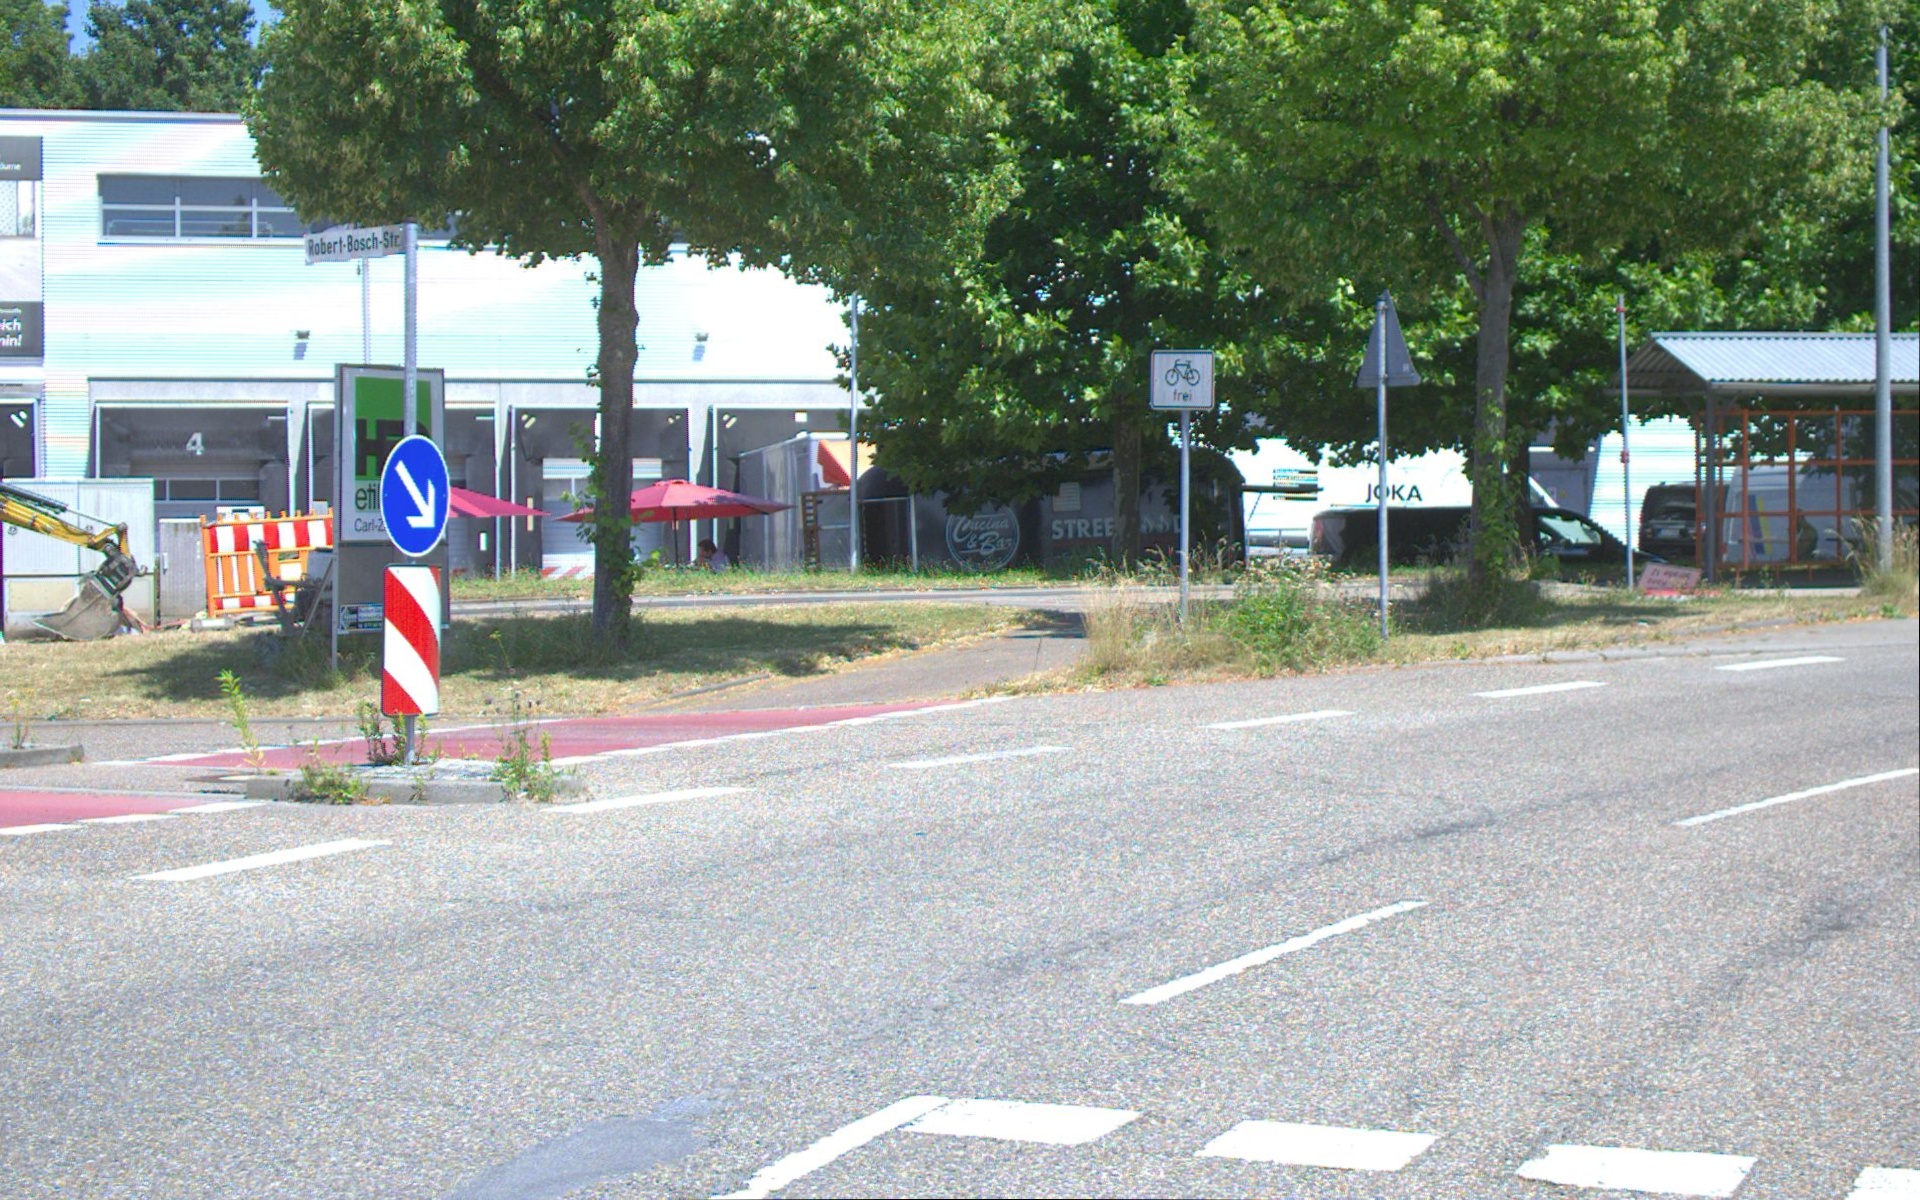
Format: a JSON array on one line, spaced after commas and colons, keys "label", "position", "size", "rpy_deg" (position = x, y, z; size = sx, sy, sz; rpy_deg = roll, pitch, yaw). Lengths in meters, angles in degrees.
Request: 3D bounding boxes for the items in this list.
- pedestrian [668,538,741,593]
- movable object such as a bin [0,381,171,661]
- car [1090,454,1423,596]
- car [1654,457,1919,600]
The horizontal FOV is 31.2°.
[{"label": "pedestrian", "position": [-3.349, -0.458, 45.075], "size": [0.864, 0.693, 0.407], "rpy_deg": [-1, 1, 9]}, {"label": "movable object such as a bin", "position": [-11.075, -0.618, 33.046], "size": [6.555, 2.572, 2.001], "rpy_deg": [-3, 1, -9]}, {"label": "car", "position": [3.911, -1.004, 45.620], "size": [3.986, 1.722, 1.841], "rpy_deg": [-2, 1, -12]}, {"label": "car", "position": [12.245, -1.027, 51.050], "size": [1.543, 2.007, 4.266], "rpy_deg": [1, 0, -25]}]
